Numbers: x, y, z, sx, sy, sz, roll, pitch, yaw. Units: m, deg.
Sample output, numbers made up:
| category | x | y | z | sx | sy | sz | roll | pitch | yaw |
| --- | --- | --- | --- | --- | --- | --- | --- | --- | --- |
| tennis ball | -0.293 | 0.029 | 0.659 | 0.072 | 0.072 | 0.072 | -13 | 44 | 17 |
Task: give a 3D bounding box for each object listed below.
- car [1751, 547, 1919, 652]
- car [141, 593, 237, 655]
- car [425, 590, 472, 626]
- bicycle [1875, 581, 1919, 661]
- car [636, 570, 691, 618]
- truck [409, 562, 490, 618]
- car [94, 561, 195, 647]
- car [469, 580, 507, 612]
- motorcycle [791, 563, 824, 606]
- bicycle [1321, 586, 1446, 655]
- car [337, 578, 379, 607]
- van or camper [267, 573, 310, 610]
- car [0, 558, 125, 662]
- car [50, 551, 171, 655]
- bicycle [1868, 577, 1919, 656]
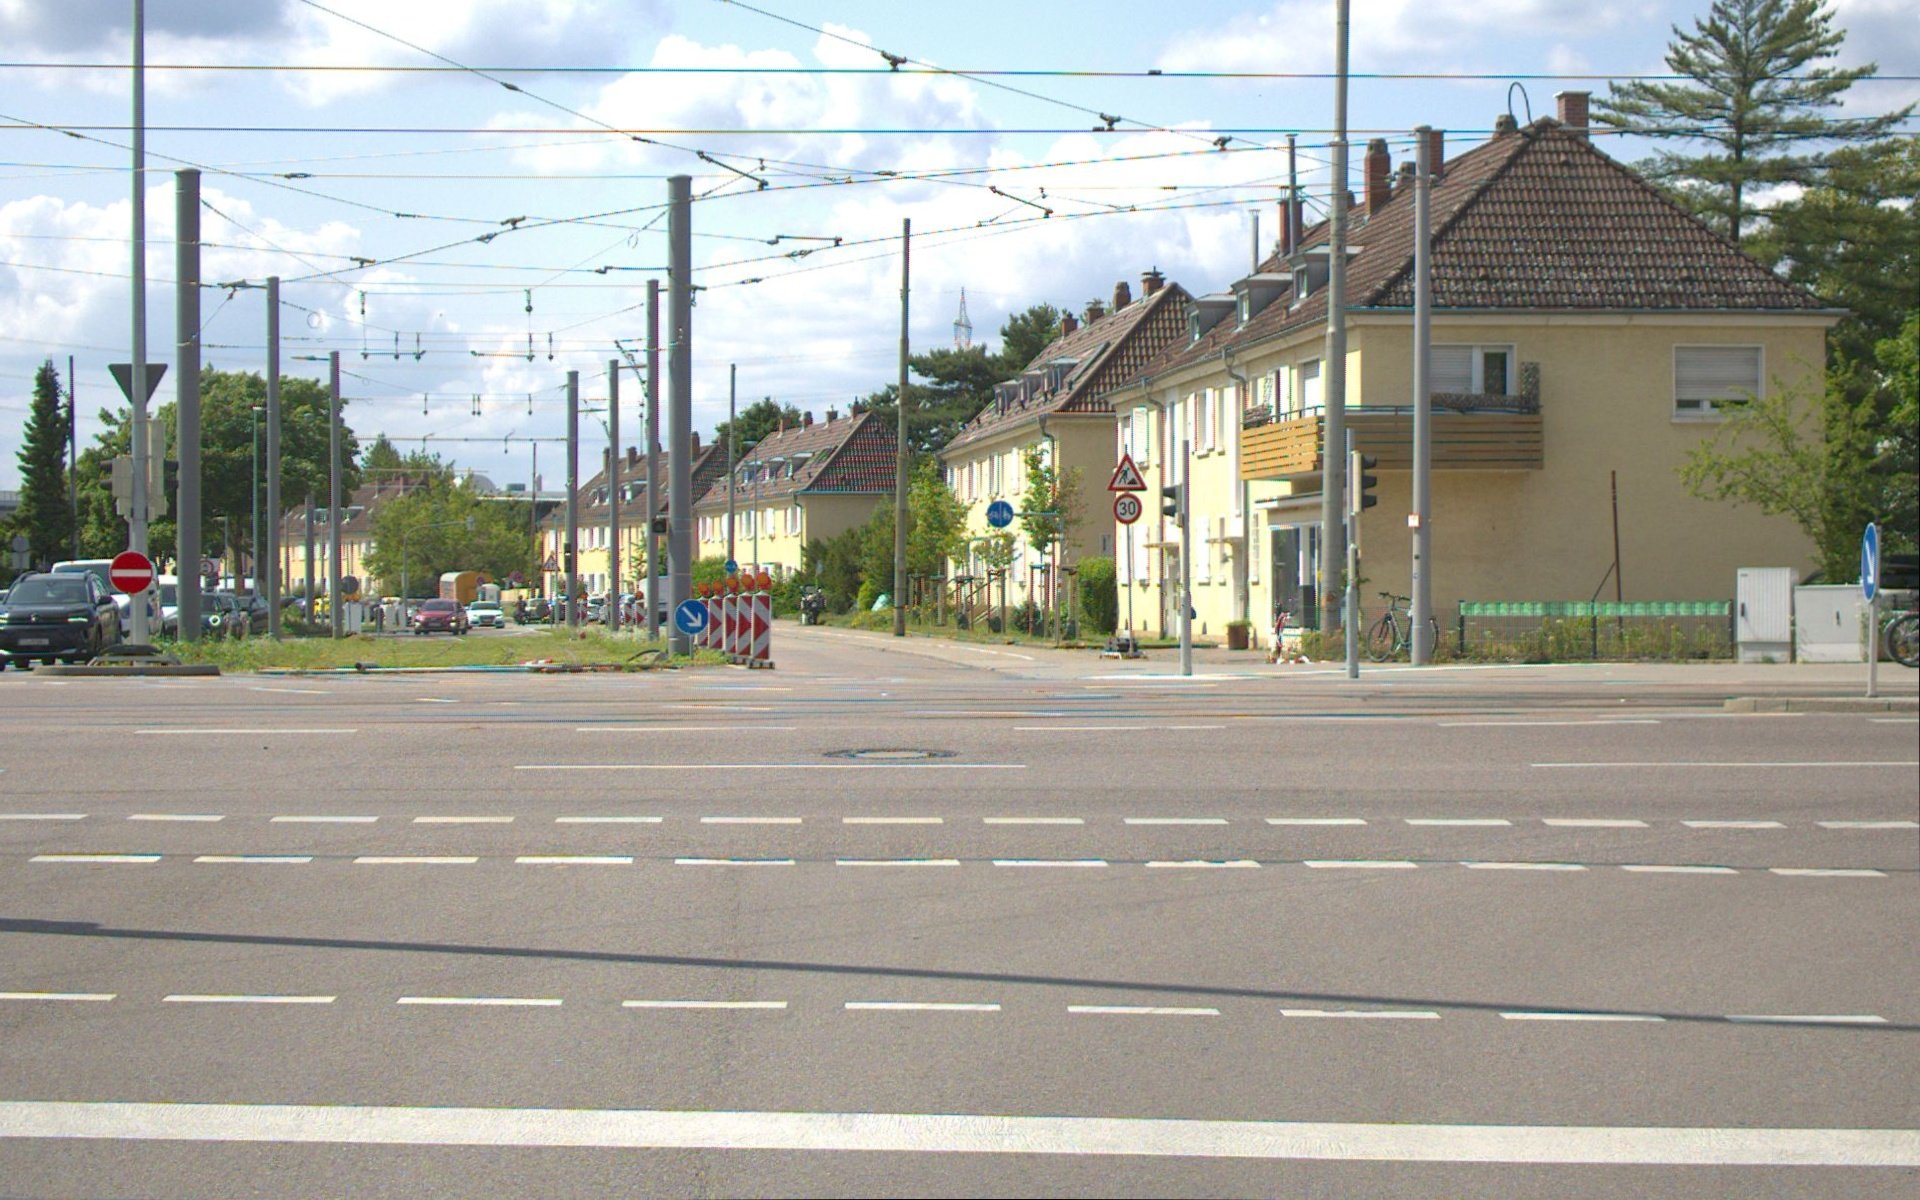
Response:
| category | x | y | z | sx | sy | sz | roll | pitch | yaw |
| --- | --- | --- | --- | --- | --- | --- | --- | --- | --- |
| car | 14.420 | 0.015 | 55.389 | 1.821 | 1.615 | 4.001 | 0 | -1 | -10 |
| car | -18.084 | 0.544 | 80.782 | 1.914 | 1.414 | 4.001 | 0 | 0 | -8 |
| car | -21.601 | 0.328 | 145.225 | 1.843 | 1.489 | 4.857 | 0 | 0 | -7 |
| bicycle | 13.647 | 0.286 | 47.200 | 2.029 | 1.098 | 0.714 | 0 | 0 | 21 |
| car | -13.575 | -0.280 | 157.264 | 2.065 | 2.142 | 4.879 | 0 | 0 | -10 |
| truck | -32.345 | -0.616 | 217.517 | 2.640 | 3.482 | 9.439 | 0 | 0 | -24 |
| car | -17.489 | 0.079 | 73.833 | 1.732 | 1.776 | 4.406 | -1 | 0 | -9 |
| car | -23.758 | -0.206 | 173.094 | 1.843 | 1.556 | 4.188 | 0 | 0 | -7 |
| motorcycle | -5.867 | -0.583 | 132.007 | 1.066 | 1.630 | 2.084 | 0 | 0 | -8 |
| bicycle | 6.826 | 0.331 | 55.539 | 0.593 | 1.093 | 2.276 | 0 | 0 | -37 |
| car | -40.430 | -0.523 | 230.747 | 1.993 | 1.904 | 4.001 | -1 | 1 | -22 |
| van or camper | -50.635 | -0.639 | 259.167 | 2.691 | 2.693 | 6.520 | 0 | 1 | -15 |
| car | -15.649 | 0.141 | 59.547 | 1.786 | 1.715 | 4.442 | 0 | 1 | -7 |
| car | -16.261 | 0.051 | 65.962 | 1.814 | 1.915 | 4.749 | 0 | 0 | -9 |
| bicycle | 13.818 | 0.233 | 48.531 | 1.806 | 1.101 | 0.701 | 0 | 0 | 39 |
